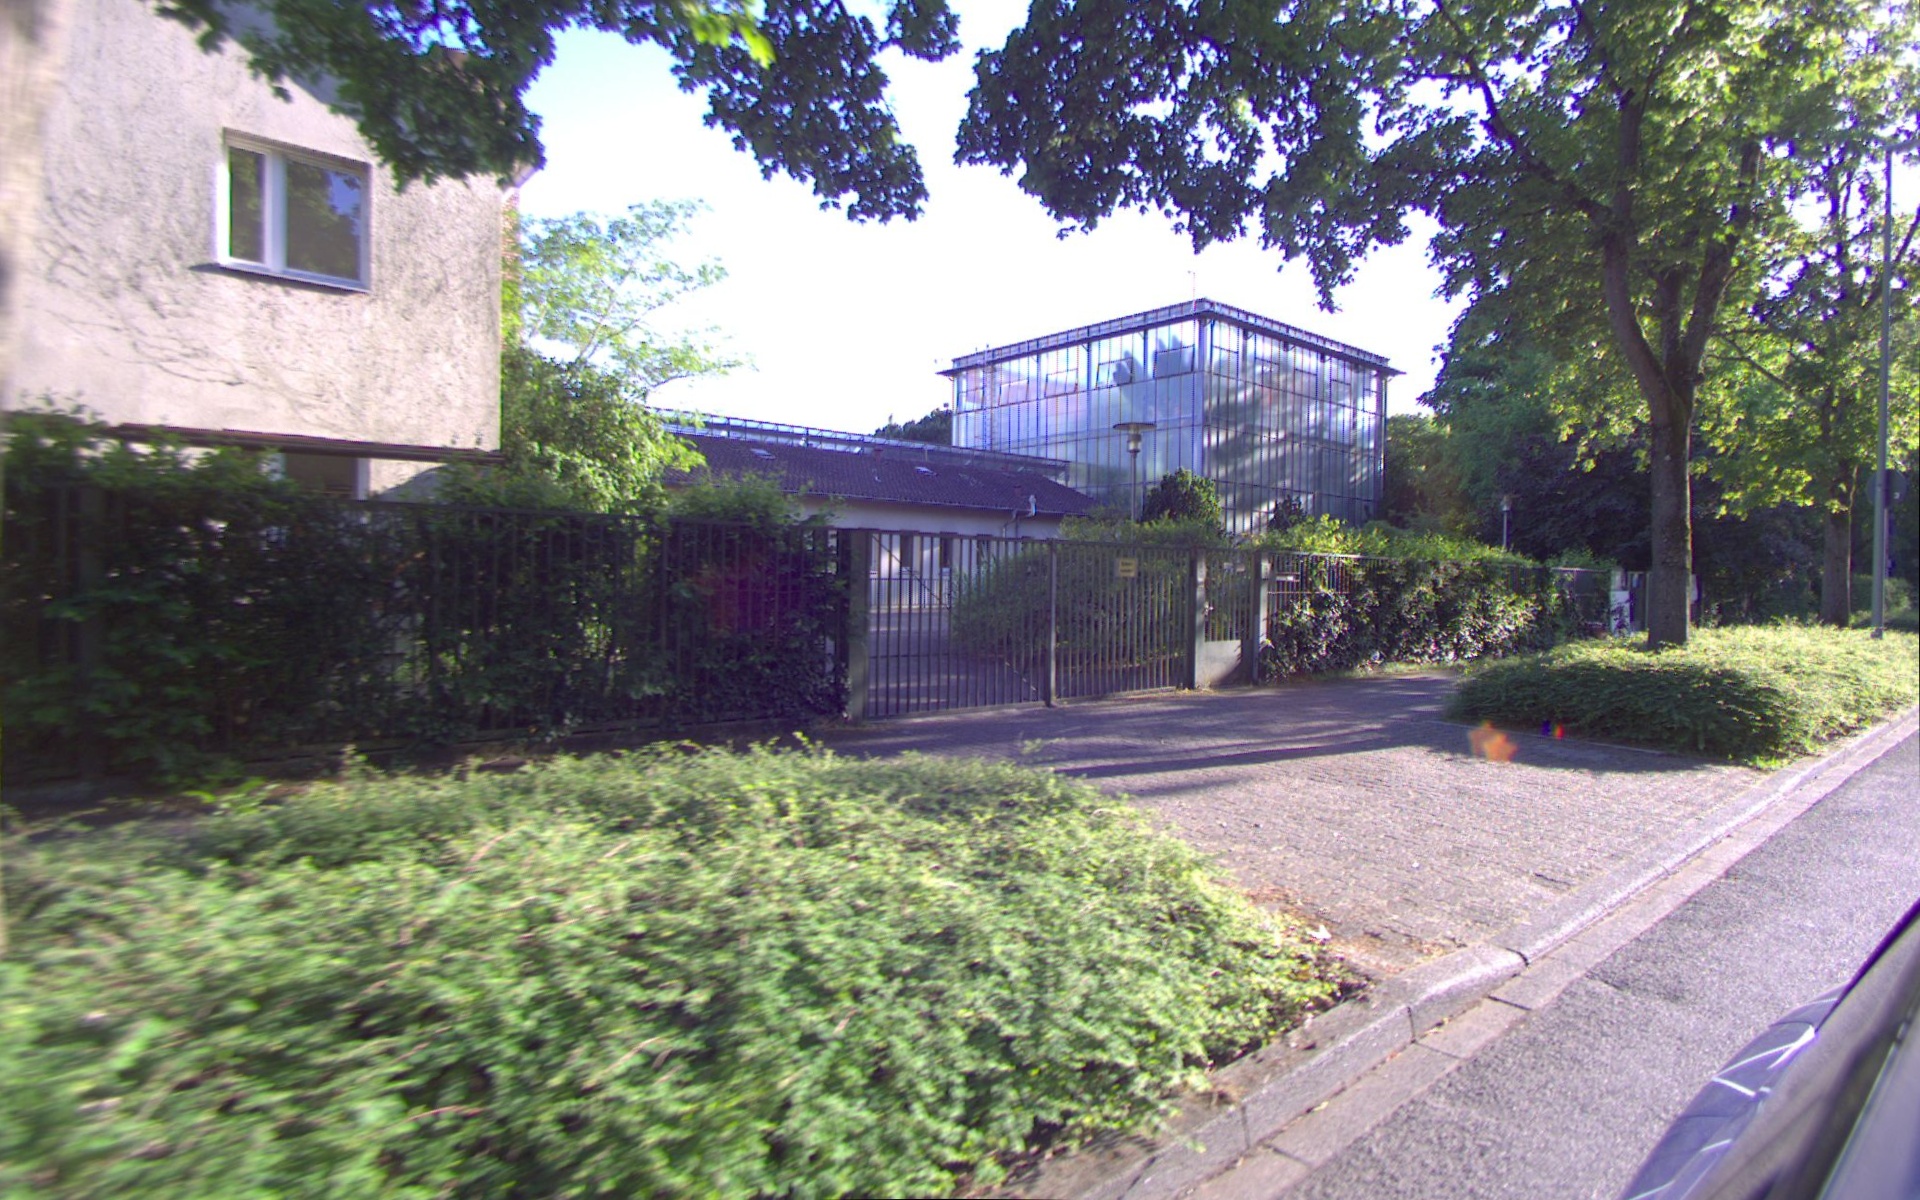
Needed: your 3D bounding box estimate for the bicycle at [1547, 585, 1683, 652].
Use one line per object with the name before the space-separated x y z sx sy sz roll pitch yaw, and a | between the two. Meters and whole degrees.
bicycle | 12.724 0.349 19.675 2.277 1.215 0.889 1 2 -16
